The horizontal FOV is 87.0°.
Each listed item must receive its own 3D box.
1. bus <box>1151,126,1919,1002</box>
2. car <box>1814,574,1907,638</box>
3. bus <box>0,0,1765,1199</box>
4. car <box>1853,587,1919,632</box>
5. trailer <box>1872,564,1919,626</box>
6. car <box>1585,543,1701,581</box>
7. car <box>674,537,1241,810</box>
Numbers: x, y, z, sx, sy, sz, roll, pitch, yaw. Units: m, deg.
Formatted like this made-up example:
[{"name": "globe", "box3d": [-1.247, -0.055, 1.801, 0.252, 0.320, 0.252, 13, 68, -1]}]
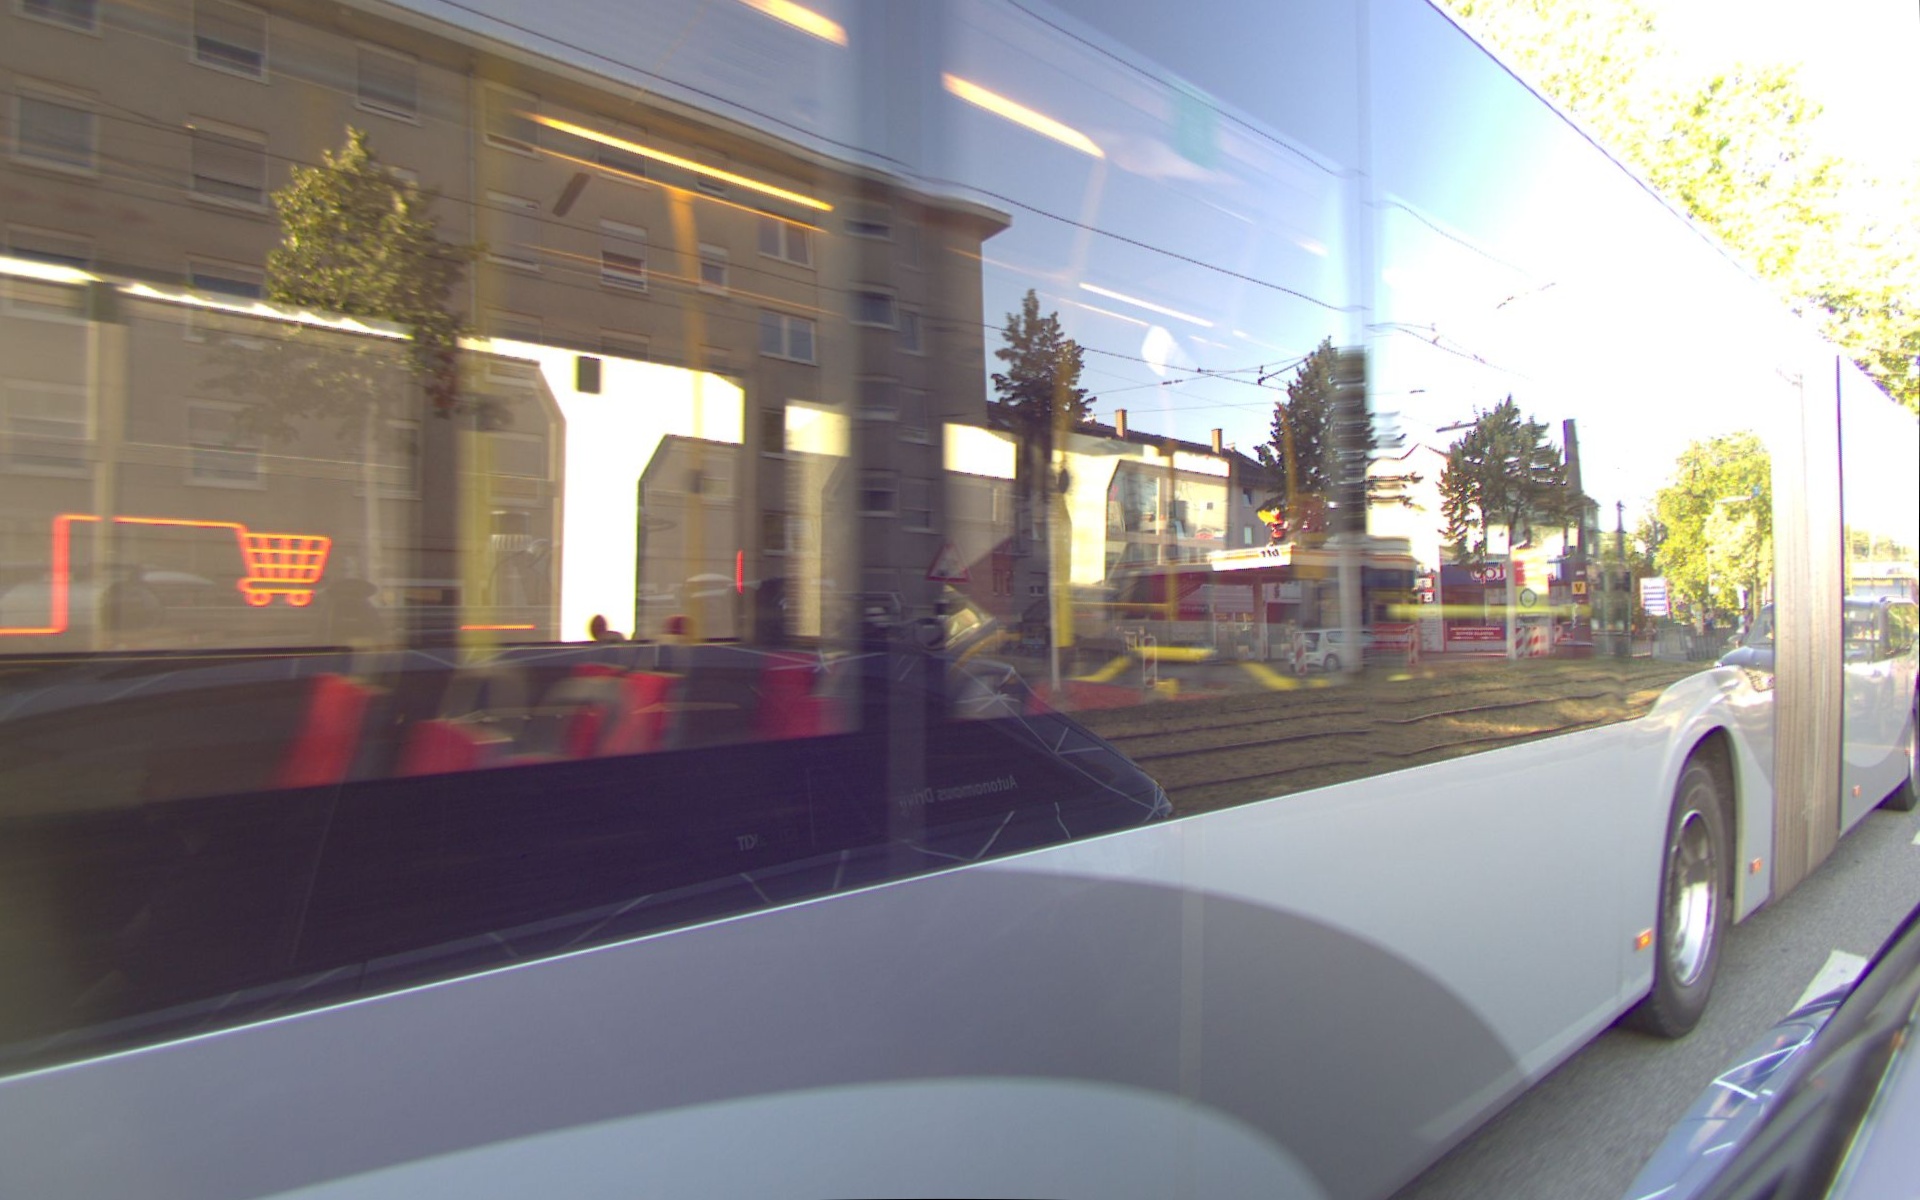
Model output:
[{"name": "bus", "box3d": [5.242, -0.139, 7.477, 8.698, 3.094, 2.743, 0, 0, -41]}, {"name": "car", "box3d": [32.082, 0.185, 36.014, 4.483, 2.104, 1.888, 0, 2, -41]}, {"name": "bus", "box3d": [-1.430, -0.142, 1.677, 8.971, 3.094, 2.743, 0, 0, -41]}, {"name": "car", "box3d": [37.064, 0.365, 40.242, 3.930, 1.650, 1.799, 0, 2, -41]}, {"name": "trailer", "box3d": [41.912, -0.225, 44.665, 4.569, 2.620, 1.889, 0, 1, -41]}, {"name": "car", "box3d": [31.393, -1.695, 46.600, 1.770, 1.570, 4.120, 0, -1, -39]}, {"name": "car", "box3d": [0.159, 0.383, 7.815, 4.155, 1.555, 1.842, 0, 2, -41]}]
